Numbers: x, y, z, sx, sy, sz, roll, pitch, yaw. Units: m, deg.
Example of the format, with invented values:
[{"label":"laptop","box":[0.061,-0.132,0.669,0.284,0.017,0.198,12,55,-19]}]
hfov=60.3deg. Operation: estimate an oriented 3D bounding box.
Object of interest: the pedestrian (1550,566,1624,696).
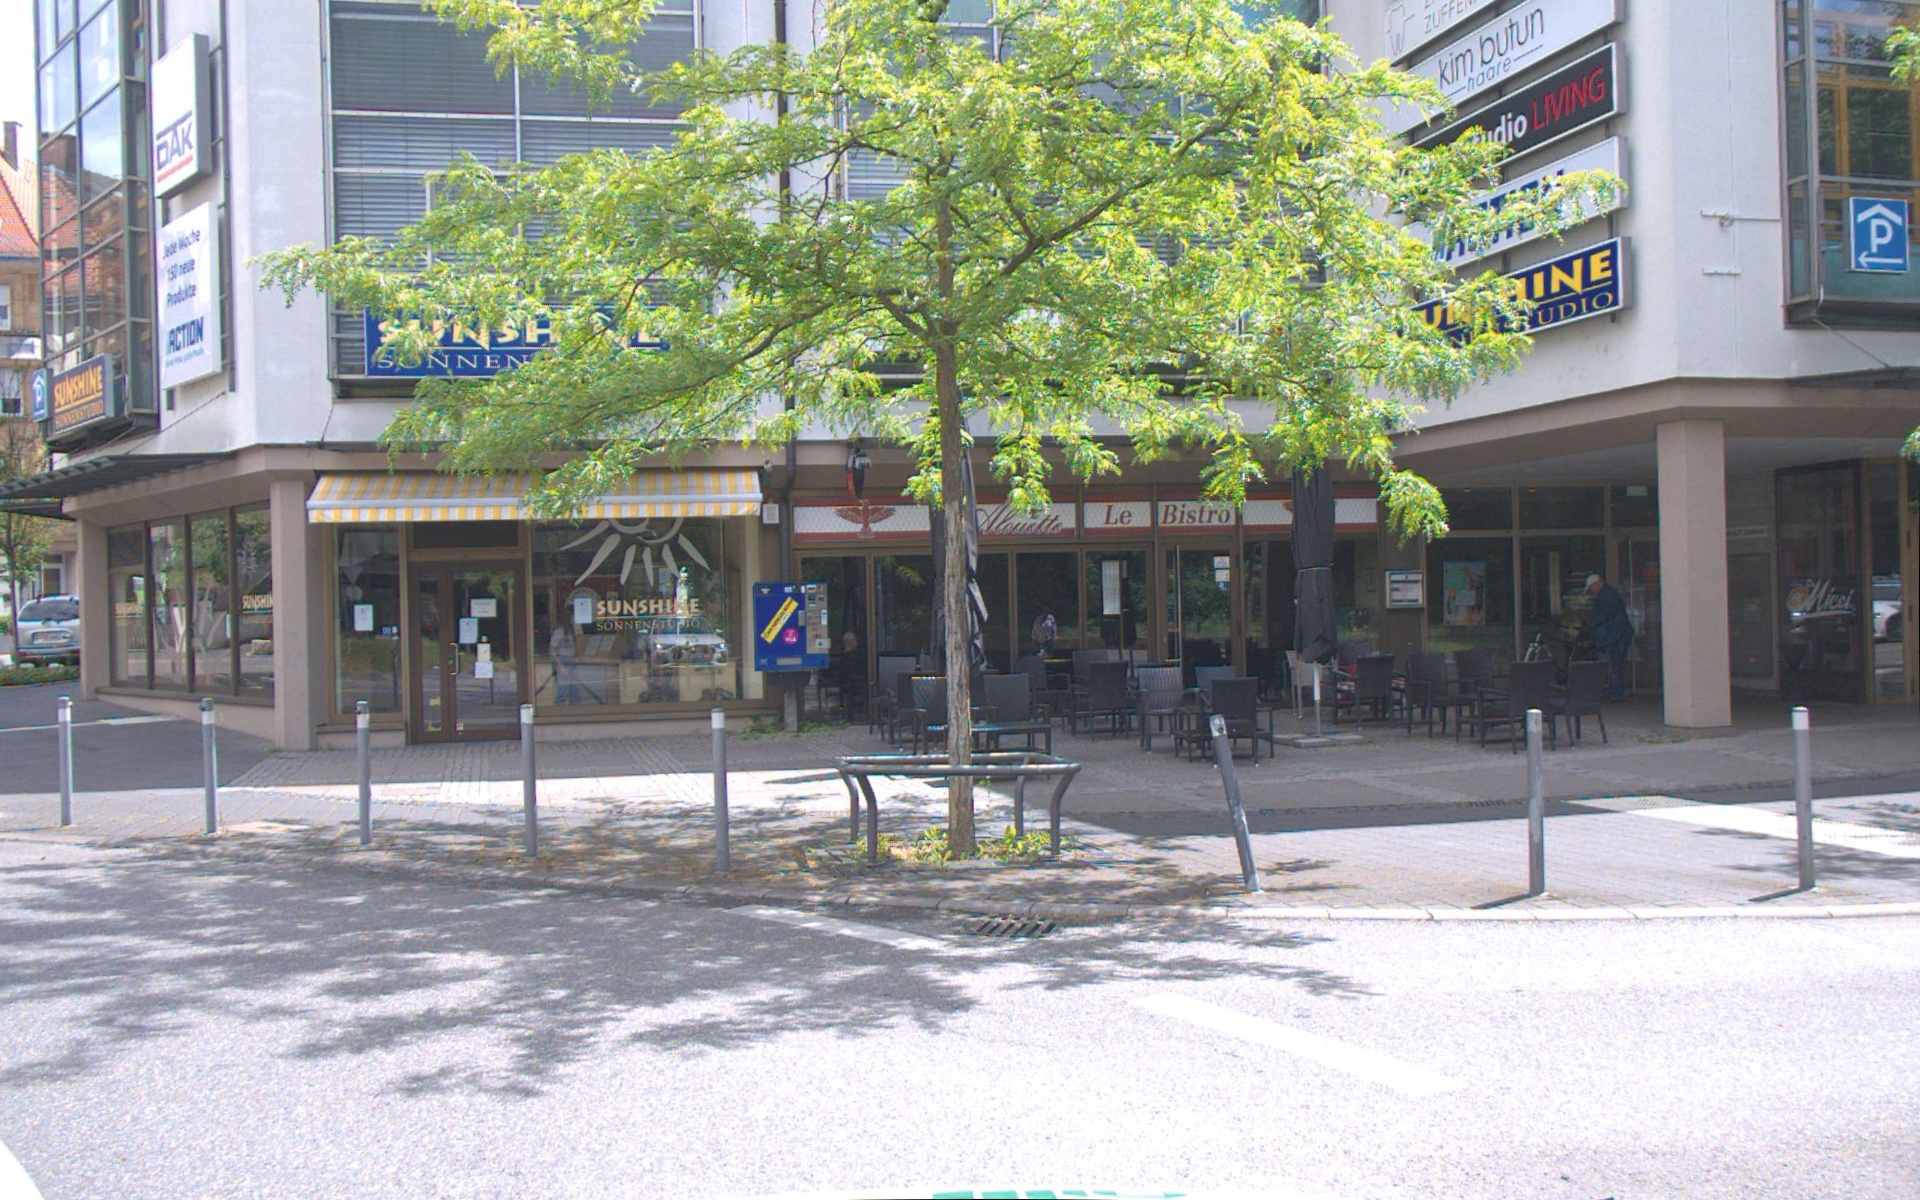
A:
[{"label":"pedestrian","box":[8.379,0.404,22.116,0.685,1.704,0.614,0,0,-19]}]

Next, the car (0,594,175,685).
[{"label":"car","box":[-18.648,0.790,35.512,1.789,1.761,4.229,-2,0,-4]}]

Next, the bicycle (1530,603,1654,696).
[{"label":"bicycle","box":[8.388,0.644,21.971,1.508,1.188,0.495,0,-1,26]}]

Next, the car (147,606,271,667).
[{"label":"car","box":[-21.105,0.993,46.651,1.788,1.545,4.229,-2,0,-4]}]
